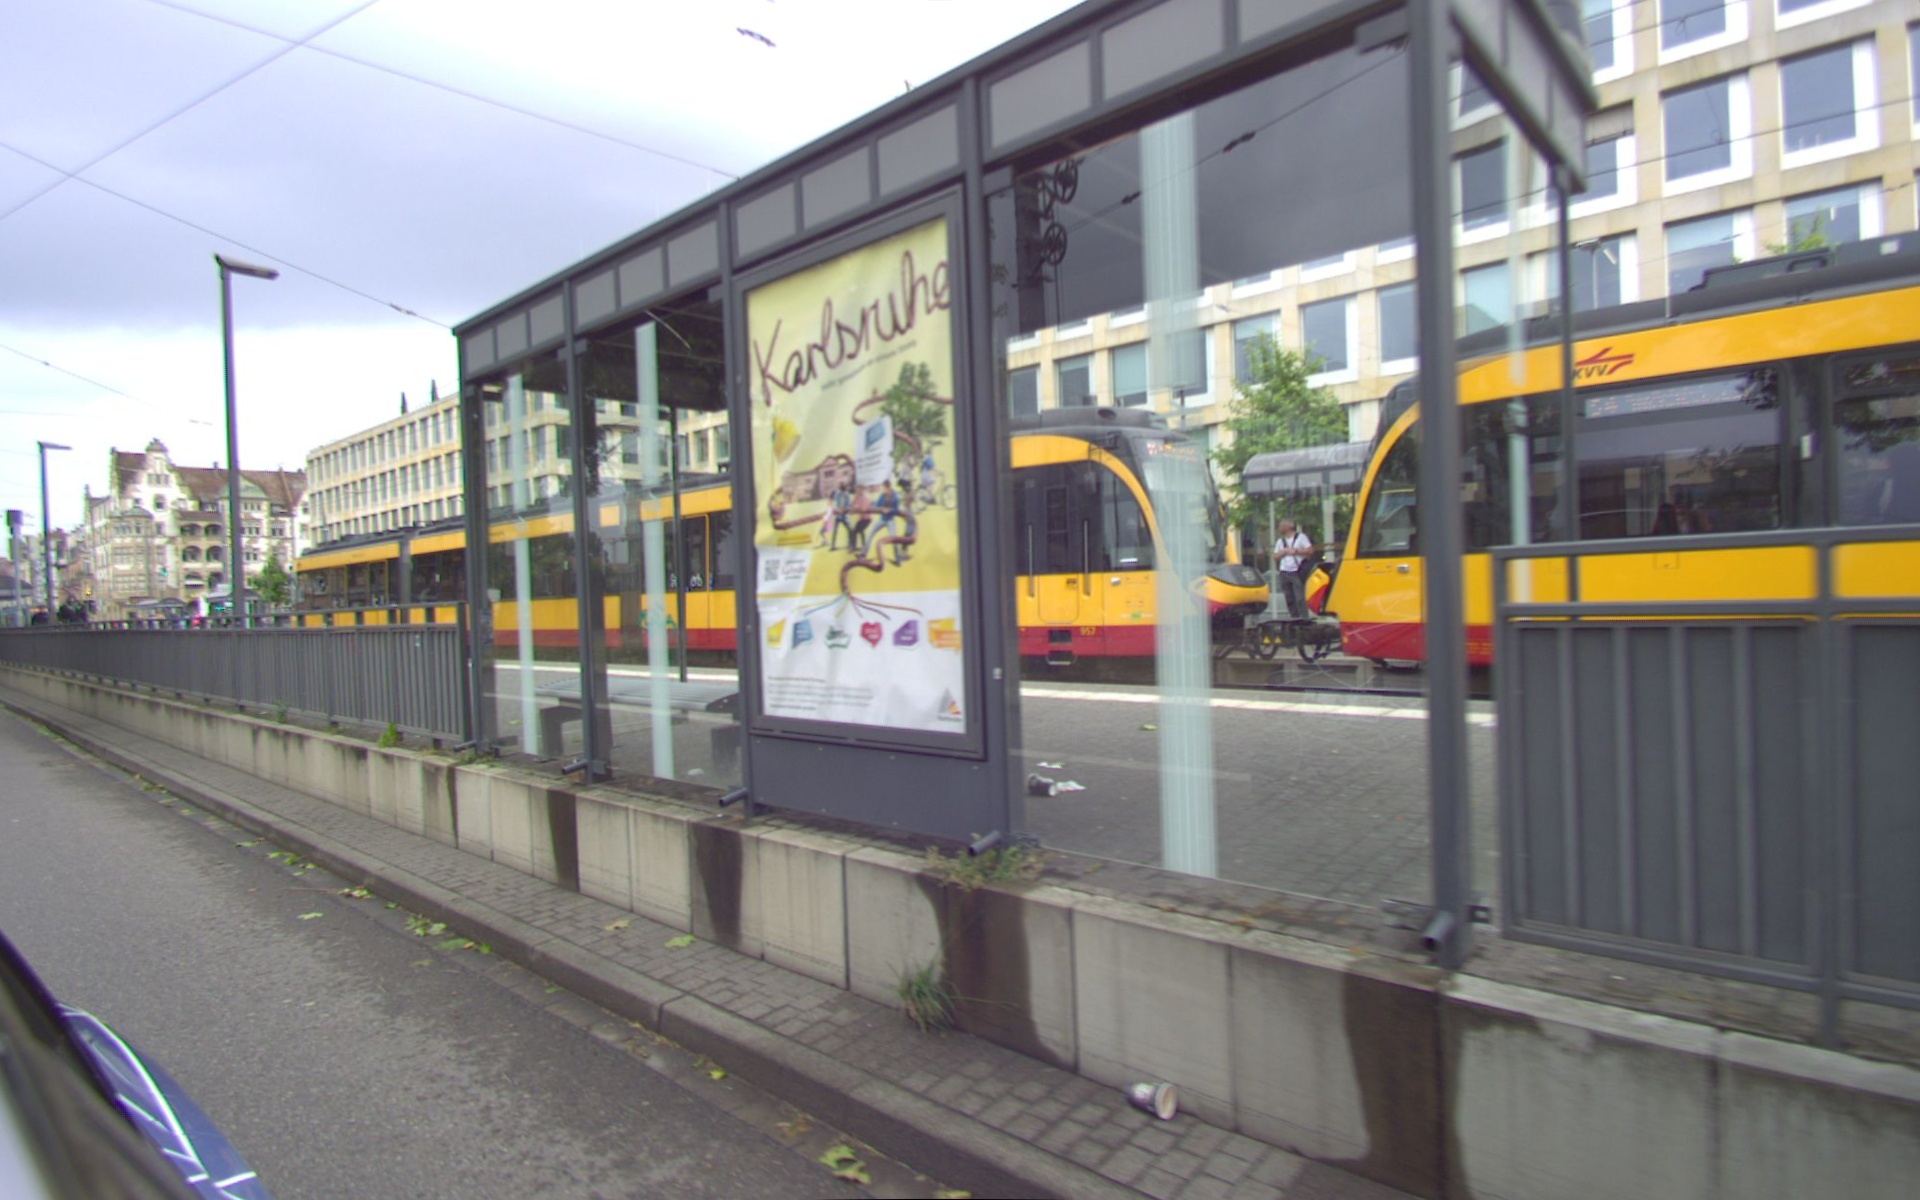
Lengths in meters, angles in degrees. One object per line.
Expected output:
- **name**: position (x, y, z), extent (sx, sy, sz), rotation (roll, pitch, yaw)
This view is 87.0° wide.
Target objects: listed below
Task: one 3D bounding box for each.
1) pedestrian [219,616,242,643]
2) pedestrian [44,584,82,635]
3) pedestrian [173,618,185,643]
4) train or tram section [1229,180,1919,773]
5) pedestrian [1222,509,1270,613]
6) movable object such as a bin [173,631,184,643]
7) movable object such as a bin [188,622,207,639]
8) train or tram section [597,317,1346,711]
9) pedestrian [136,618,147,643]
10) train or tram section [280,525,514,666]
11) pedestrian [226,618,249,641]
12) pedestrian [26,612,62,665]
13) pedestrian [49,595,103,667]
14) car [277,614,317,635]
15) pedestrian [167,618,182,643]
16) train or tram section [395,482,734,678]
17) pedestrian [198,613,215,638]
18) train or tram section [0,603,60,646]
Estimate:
- **pedestrian**: position (-47.051, 1.883, 65.233), extent (1.026, 1.699, 0.940), rotation (-2, 0, -45)
- **pedestrian**: position (-32.880, 0.342, 37.093), extent (1.108, 1.807, 0.665), rotation (-1, 0, 29)
- **pedestrian**: position (-51.342, 1.994, 66.524), extent (0.529, 1.619, 0.566), rotation (-2, 0, -41)
- **train or tram section**: position (9.387, -0.944, 6.990), extent (14.732, 4.210, 3.146), rotation (-1, 1, 43)
- **pedestrian**: position (4.754, -0.635, 16.821), extent (0.510, 1.683, 0.577), rotation (-1, 0, 43)
- **movable object such as a bin**: position (-51.678, 2.467, 66.918), extent (0.529, 0.753, 0.469), rotation (-2, 0, -41)
- **movable object such as a bin**: position (-49.899, 1.999, 66.217), extent (0.714, 1.029, 0.619), rotation (-2, 0, 9)
- **train or tram section**: position (-1.080, -0.849, 16.610), extent (13.619, 4.210, 3.146), rotation (-1, 1, 43)
- **pedestrian**: position (-61.308, 2.283, 75.795), extent (0.588, 1.782, 0.589), rotation (-2, 0, -41)
- **train or tram section**: position (-18.608, -0.082, 32.883), extent (11.310, 3.891, 3.203), rotation (-1, 1, 43)
- **pedestrian**: position (-45.753, 1.876, 64.077), extent (1.026, 1.382, 0.940), rotation (-2, 0, -45)
- **pedestrian**: position (-32.292, 1.346, 35.684), extent (1.110, 1.807, 0.664), rotation (-1, 0, 34)
- **pedestrian**: position (-25.618, 0.883, 29.321), extent (0.840, 2.029, 1.047), rotation (-1, 0, 42)
- **car**: position (-55.689, 2.064, 85.021), extent (4.001, 1.674, 1.971), rotation (-1, 1, 44)
- **pedestrian**: position (-56.320, 2.198, 72.541), extent (0.590, 1.782, 0.587), rotation (-2, 0, 5)
- **train or tram section**: position (-10.269, -0.350, 25.139), extent (11.310, 3.891, 3.129), rotation (-1, 1, 43)
- **pedestrian**: position (-49.717, 1.695, 66.808), extent (0.650, 1.619, 0.578), rotation (-2, 0, 9)
- **train or tram section**: position (-87.368, 2.295, 94.876), extent (13.515, 3.719, 2.825), rotation (-1, 1, 41)
